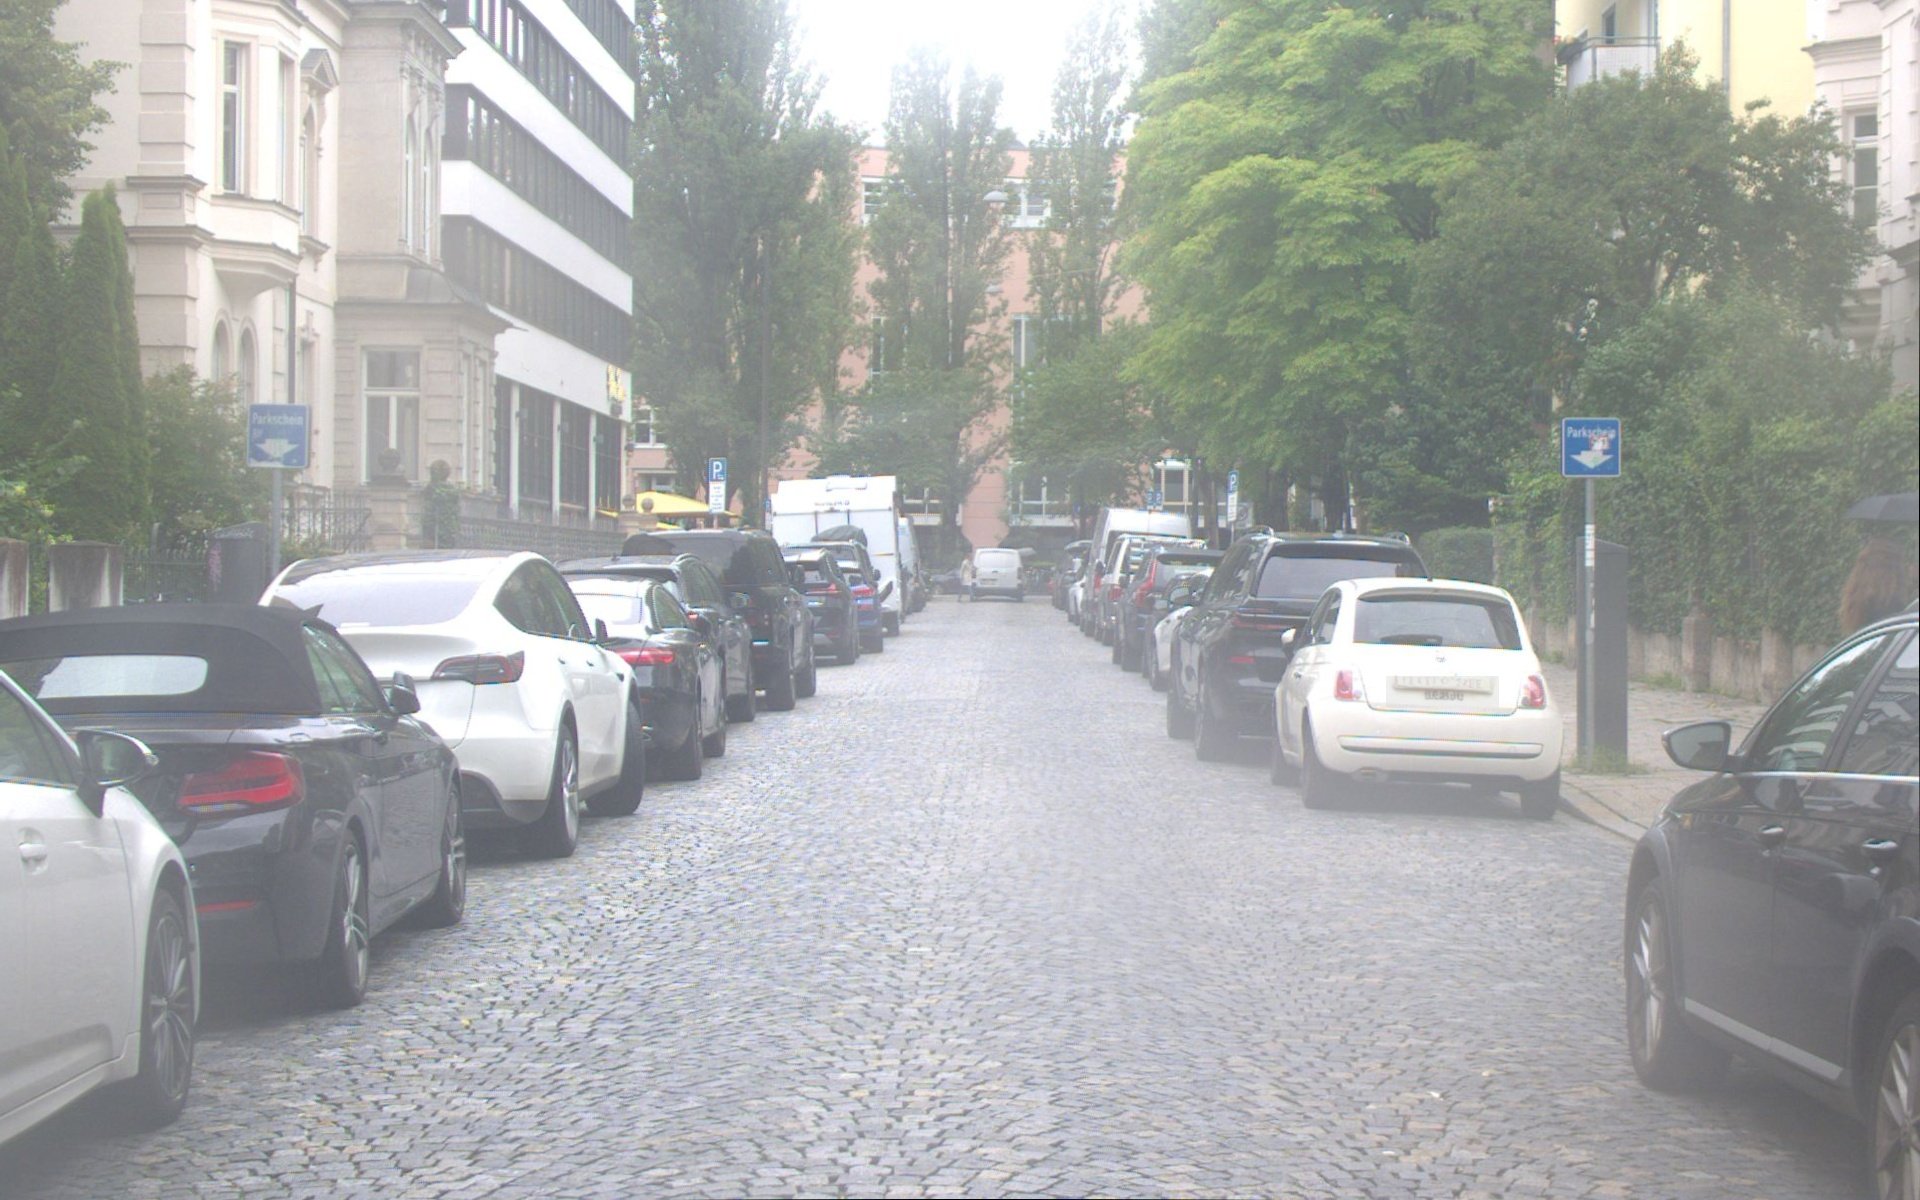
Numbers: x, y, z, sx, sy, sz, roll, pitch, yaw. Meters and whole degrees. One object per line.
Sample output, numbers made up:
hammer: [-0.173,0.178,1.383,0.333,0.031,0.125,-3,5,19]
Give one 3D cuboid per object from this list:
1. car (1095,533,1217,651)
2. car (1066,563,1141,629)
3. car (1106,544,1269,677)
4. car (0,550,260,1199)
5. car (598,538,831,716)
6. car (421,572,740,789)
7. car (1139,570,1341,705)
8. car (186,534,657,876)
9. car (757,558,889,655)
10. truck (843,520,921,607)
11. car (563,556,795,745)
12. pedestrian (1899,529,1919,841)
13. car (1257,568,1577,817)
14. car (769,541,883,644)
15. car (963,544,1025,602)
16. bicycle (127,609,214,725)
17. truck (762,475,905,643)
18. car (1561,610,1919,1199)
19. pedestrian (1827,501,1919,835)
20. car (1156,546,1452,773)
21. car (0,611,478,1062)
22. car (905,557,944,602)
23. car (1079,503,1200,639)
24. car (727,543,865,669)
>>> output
car: [3.477,-0.145,61.743,1.800,1.943,4.860,3,0,0]
car: [3.316,-0.093,79.917,1.600,1.481,3.479,1,0,0]
car: [3.165,0.132,48.804,1.963,1.753,4.954,1,0,0]
car: [-2.999,0.709,7.764,1.773,1.531,4.540,-4,0,1]
car: [-2.533,0.232,36.585,1.982,1.731,4.722,1,1,2]
car: [-2.678,0.532,25.159,1.773,1.424,4.391,1,0,1]
car: [3.132,0.400,39.270,1.773,1.424,4.391,1,0,-2]
car: [-2.823,0.507,18.979,1.774,1.642,4.391,1,0,2]
car: [-2.152,0.097,54.941,1.940,1.454,4.058,1,0,0]
truck: [-2.125,-0.991,94.984,1.993,2.339,4.068,1,0,1]
car: [-2.502,0.431,31.424,1.580,1.584,4.056,-1,0,3]
pedestrian: [5.898,0.498,19.836,0.628,1.802,0.660,1,0,-22]
car: [2.985,0.567,23.110,1.630,1.464,3.659,3,0,1]
car: [-2.312,-0.150,60.221,1.894,1.745,4.168,0,1,-1]
car: [1.193,-0.927,117.905,1.996,1.929,4.000,1,0,2]
bicycle: [-7.026,0.584,30.642,0.352,0.999,1.573,1,0,2]
truck: [-2.372,-0.811,66.237,2.508,3.021,6.385,-1,1,0]
car: [2.777,0.800,8.490,1.648,1.417,4.632,4,0,0]
pedestrian: [5.209,0.372,19.334,0.576,1.844,0.681,0,1,8]
car: [2.728,0.437,28.456,1.875,1.667,5.491,1,0,0]
car: [-2.950,0.749,12.954,1.773,1.355,4.391,1,0,-2]
car: [-1.232,-0.710,120.865,1.276,1.536,3.119,1,0,1]
car: [3.452,-0.601,67.220,1.895,2.418,5.611,4,1,0]
car: [-2.325,0.082,49.626,1.773,1.712,4.391,1,0,0]
